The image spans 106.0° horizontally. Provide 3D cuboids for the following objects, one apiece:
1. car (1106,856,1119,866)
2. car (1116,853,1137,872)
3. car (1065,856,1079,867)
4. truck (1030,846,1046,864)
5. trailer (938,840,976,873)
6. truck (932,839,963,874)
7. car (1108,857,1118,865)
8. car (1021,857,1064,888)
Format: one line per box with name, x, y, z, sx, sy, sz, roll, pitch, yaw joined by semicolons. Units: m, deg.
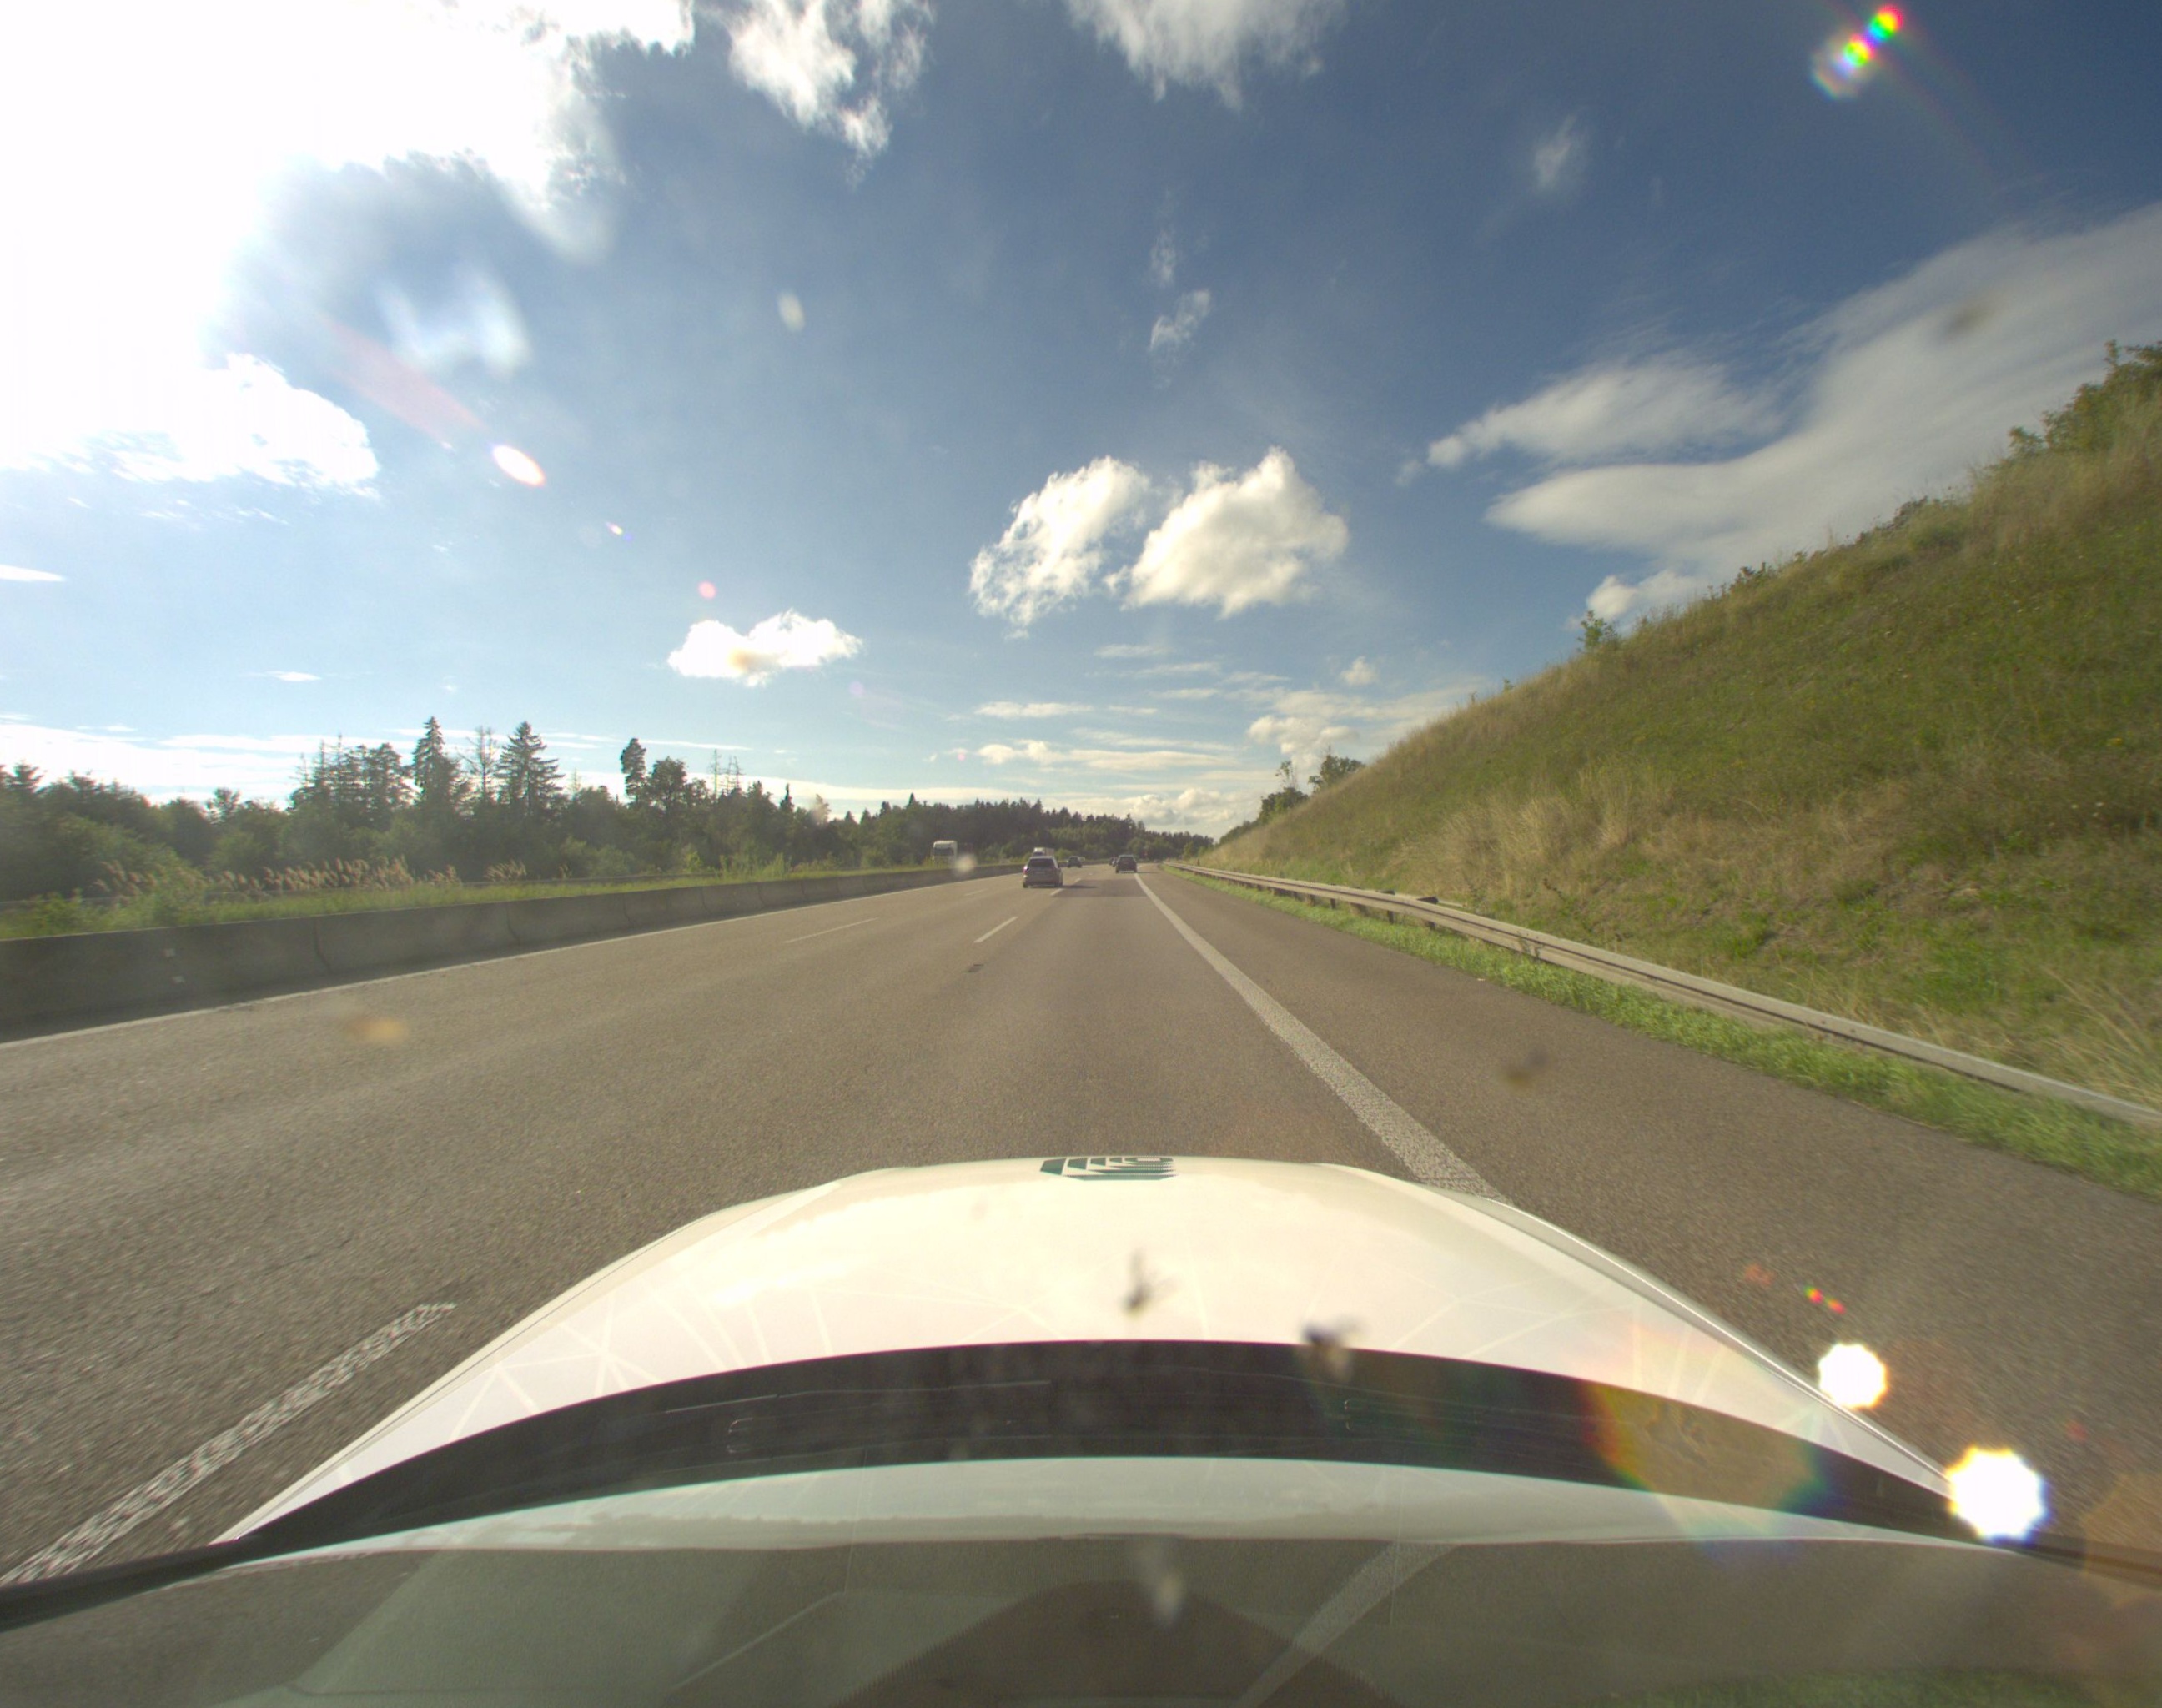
car;4.894;1.117;127.130;1.867;1.497;3.881;-1;0;1
car;4.111;0.776;74.467;1.866;1.675;3.892;-1;0;2
car;-1.260;1.107;116.482;1.867;1.497;3.880;-1;0;0
truck;-9.774;0.226;186.187;3.010;4.109;5.675;-1;0;4
trailer;-17.086;0.349;112.901;2.791;4.392;12.059;-1;0;3
truck;-17.390;0.345;106.510;2.791;4.392;5.468;-1;0;3
car;6.317;1.363;159.732;1.866;1.497;3.882;-1;0;2
car;-1.884;0.897;41.069;1.867;1.497;3.880;-1;0;1
